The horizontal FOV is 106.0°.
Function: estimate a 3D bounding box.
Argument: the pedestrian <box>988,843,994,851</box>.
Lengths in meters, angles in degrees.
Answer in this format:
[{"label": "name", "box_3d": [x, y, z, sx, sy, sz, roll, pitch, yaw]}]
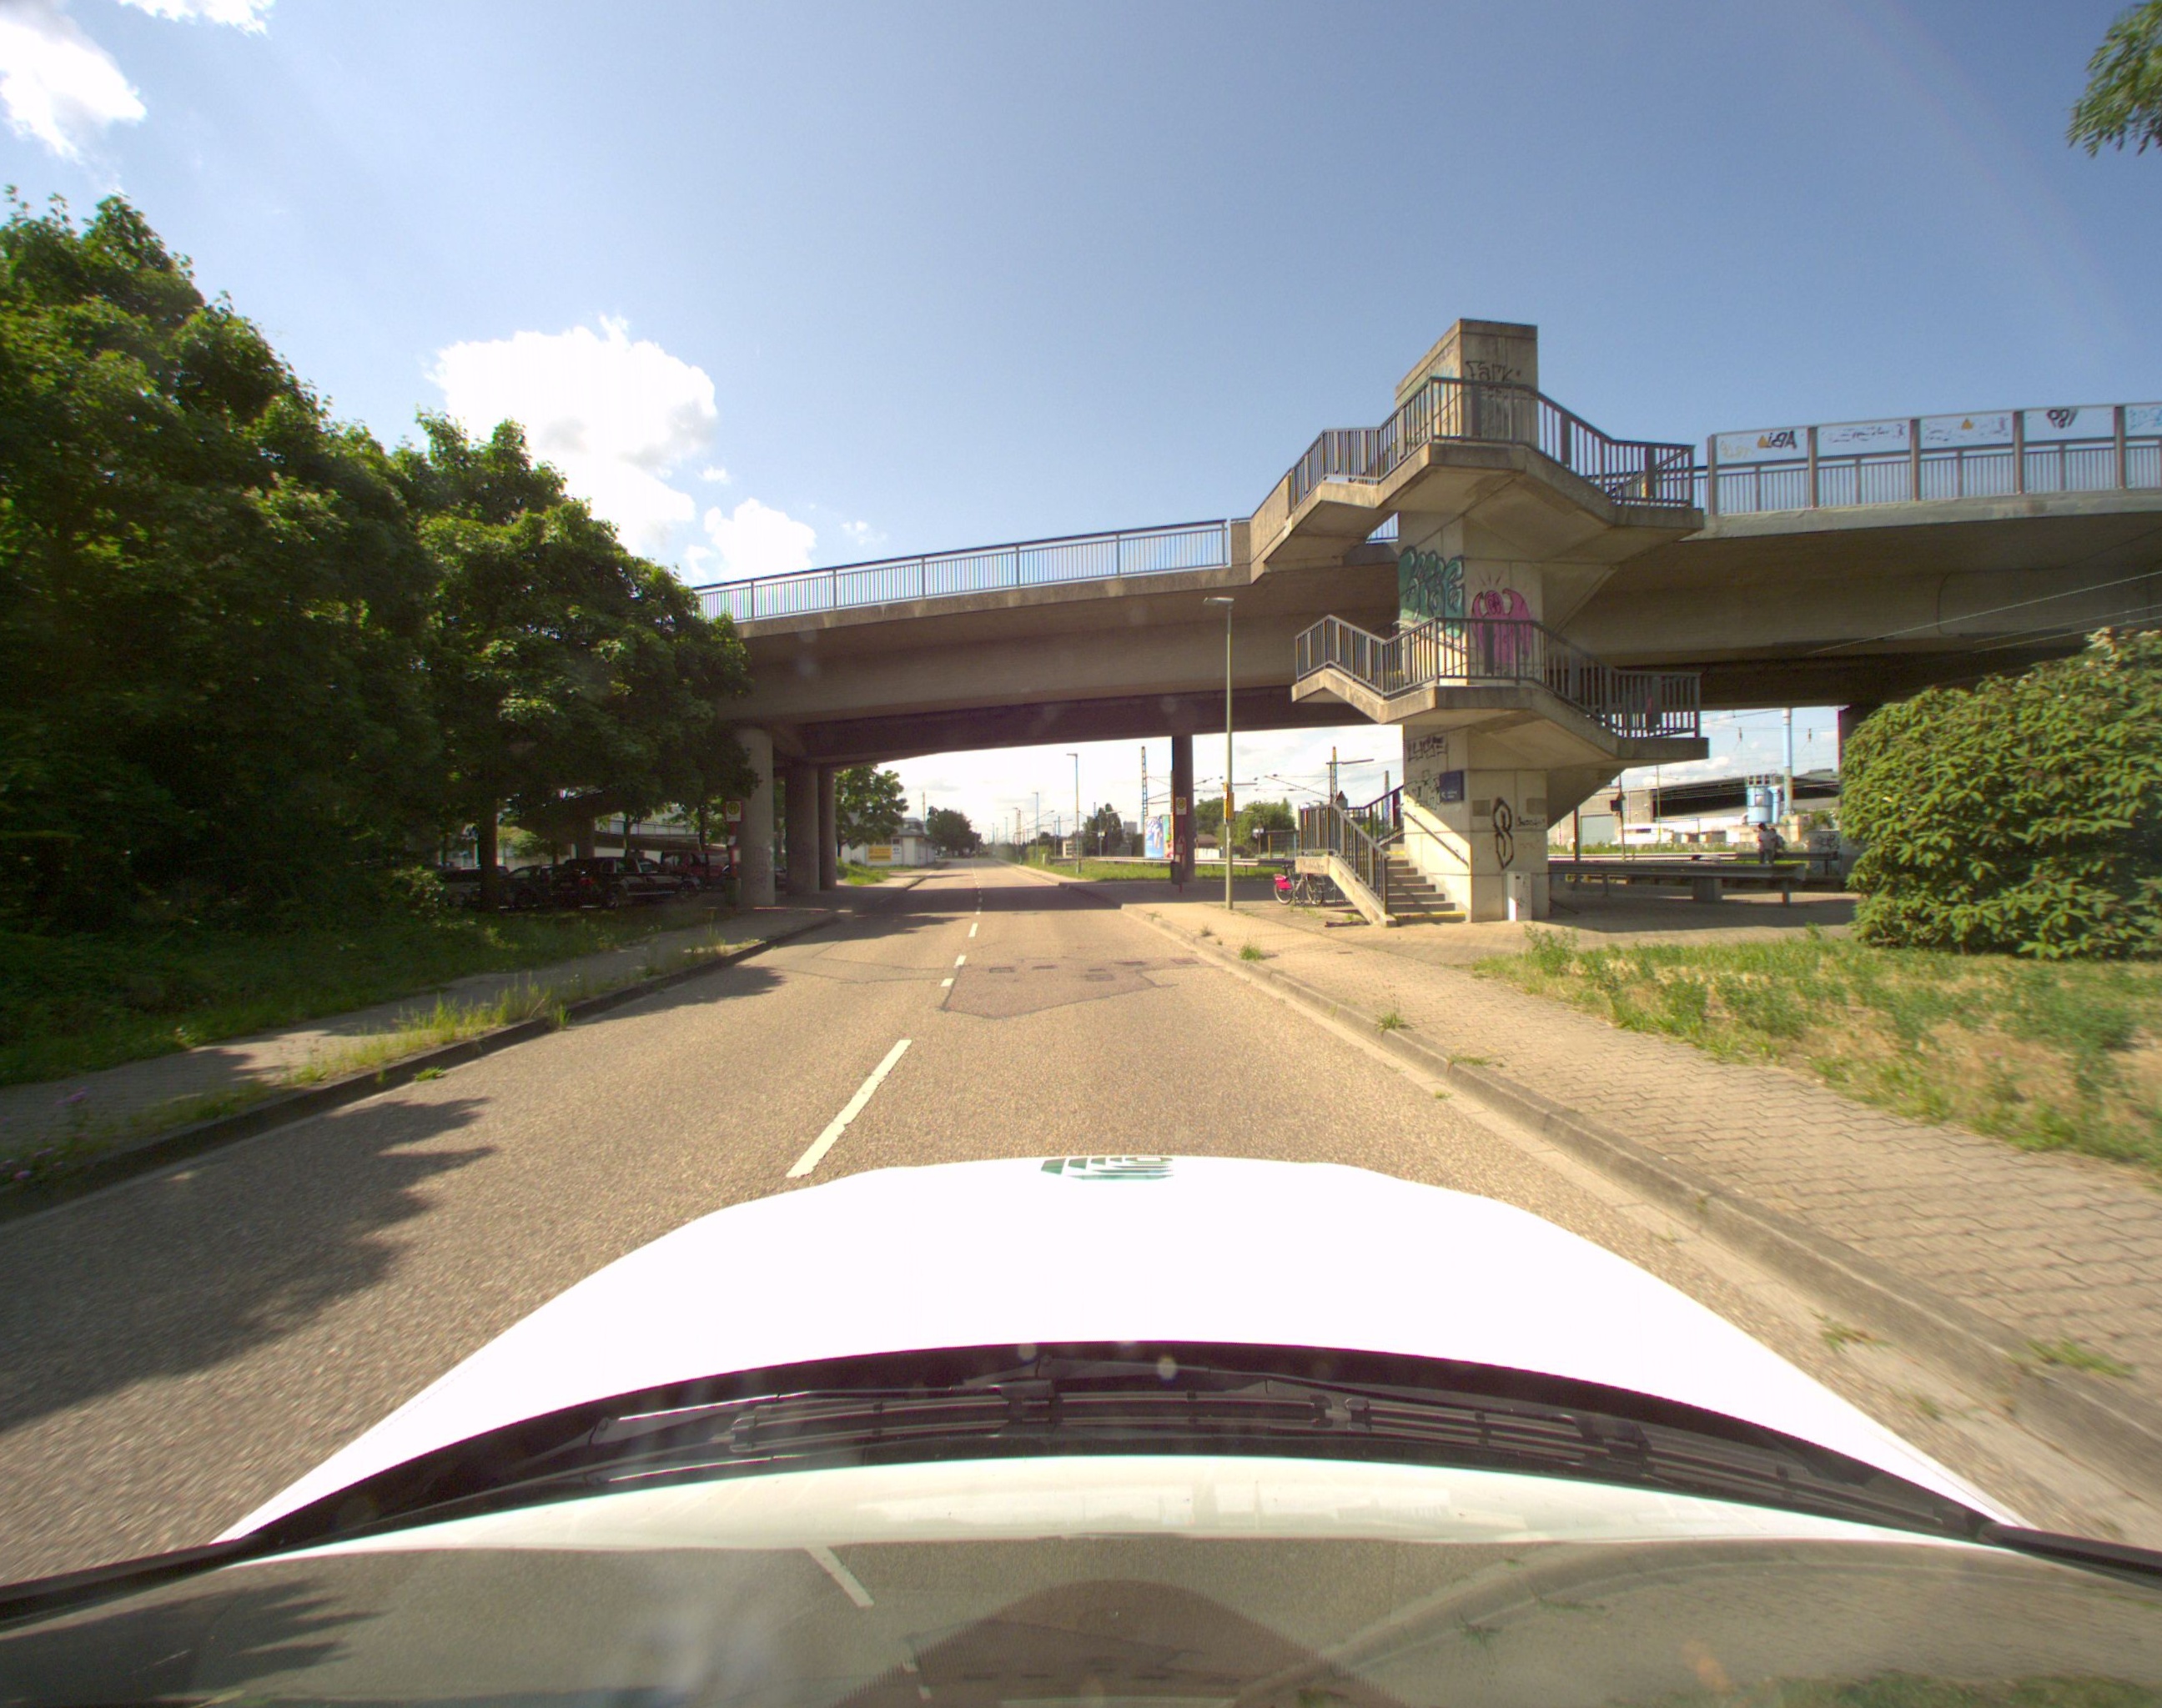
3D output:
[{"label": "pedestrian", "box_3d": [-22.430, -1.677, 202.933, 0.840, 2.013, 1.066, 1, 0, 42]}]

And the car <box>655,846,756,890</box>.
[{"label": "car", "box_3d": [-18.011, 0.645, 39.219, 1.922, 2.013, 3.983, -1, 0, 30]}]

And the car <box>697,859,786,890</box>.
[{"label": "car", "box_3d": [-15.690, 0.936, 37.805, 1.671, 1.284, 3.472, -1, 0, 29]}]

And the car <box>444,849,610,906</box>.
[{"label": "car", "box_3d": [-18.007, 0.712, 26.692, 1.976, 1.719, 4.022, -1, 0, 23]}]

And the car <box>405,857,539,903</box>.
[{"label": "car", "box_3d": [-20.968, 0.850, 28.165, 1.736, 1.451, 3.282, -1, 0, 18]}]

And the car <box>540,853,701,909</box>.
[{"label": "car", "box_3d": [-14.915, 0.821, 26.685, 1.665, 1.629, 4.597, -2, 0, 19]}]

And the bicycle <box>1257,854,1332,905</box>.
[{"label": "bicycle", "box_3d": [4.954, 0.571, 19.065, 0.644, 1.108, 2.179, -2, 0, -17]}]
